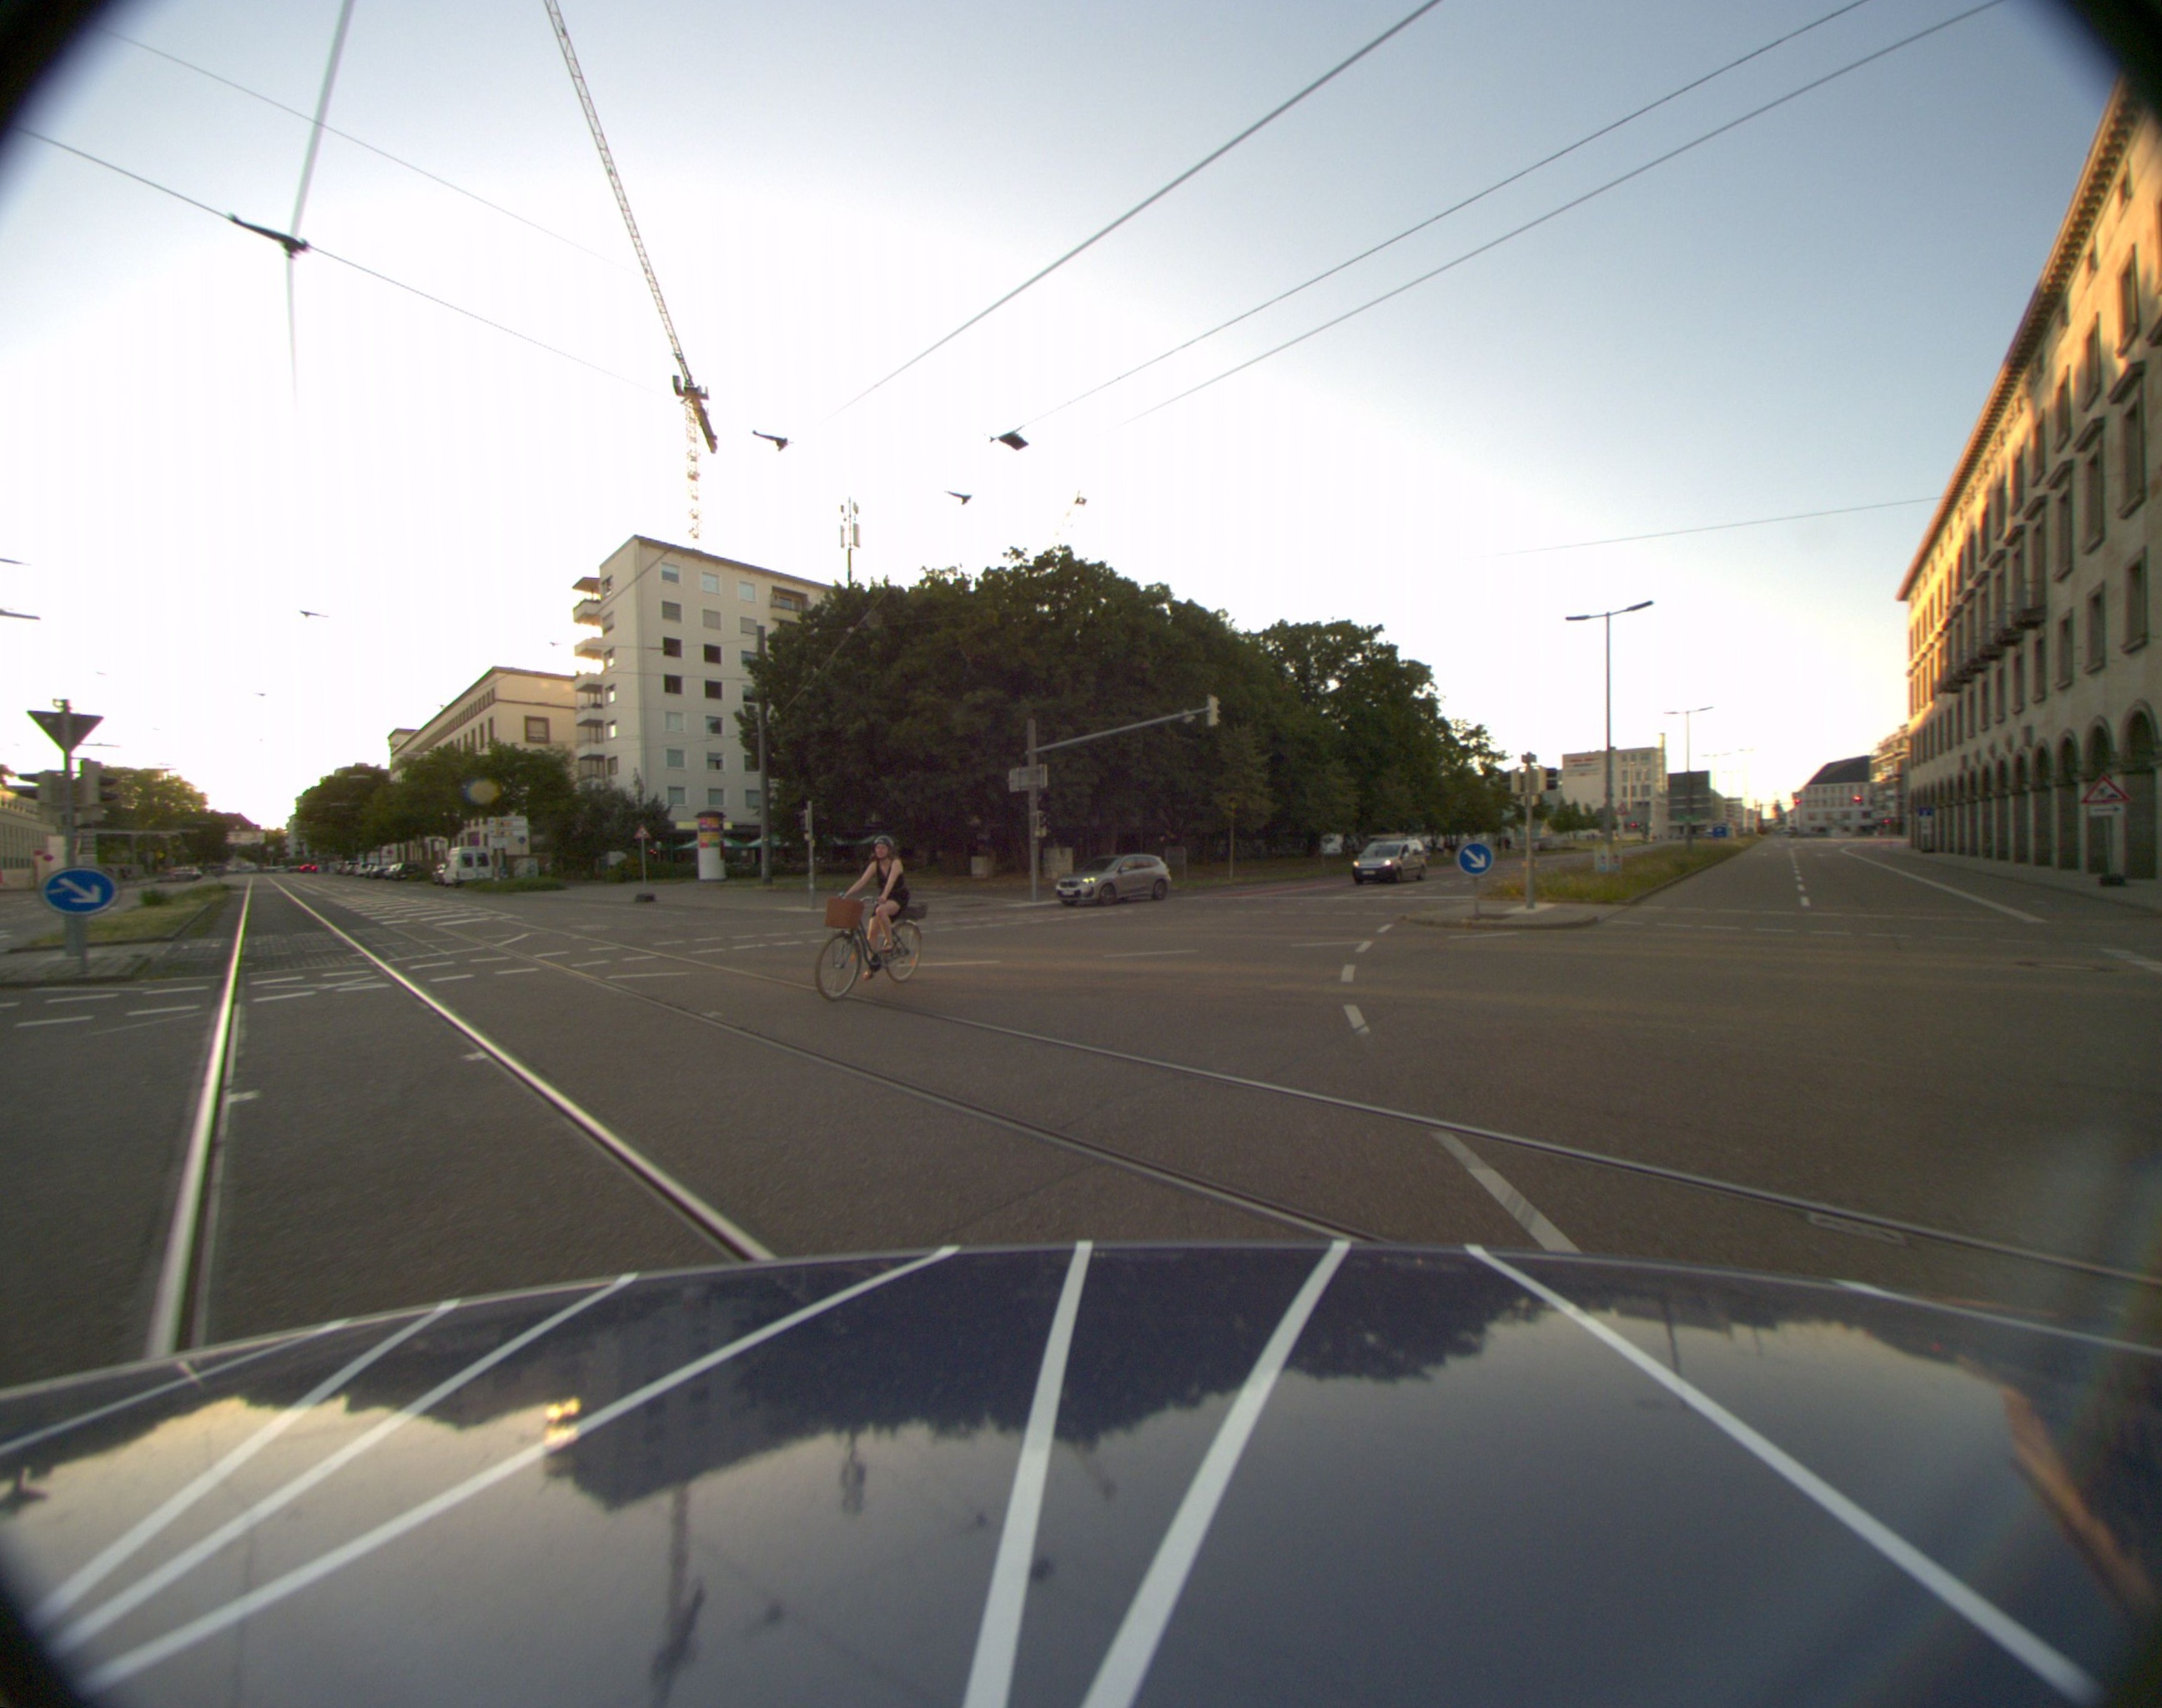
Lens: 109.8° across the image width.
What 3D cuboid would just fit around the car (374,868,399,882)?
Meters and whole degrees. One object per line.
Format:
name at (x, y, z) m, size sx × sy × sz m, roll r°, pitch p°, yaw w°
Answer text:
car at (-72.669, 2.187, 79.504) m, size 1.727 × 1.422 × 3.799 m, roll -3°, pitch 1°, yaw -44°

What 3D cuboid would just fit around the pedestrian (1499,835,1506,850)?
pedestrian at (47.288, -1.258, 85.294) m, size 0.630 × 1.656 × 0.647 m, roll -1°, pitch 1°, yaw 30°

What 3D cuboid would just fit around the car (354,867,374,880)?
car at (-87.121, 2.360, 92.293) m, size 1.727 × 1.422 × 3.799 m, roll -3°, pitch 1°, yaw -44°

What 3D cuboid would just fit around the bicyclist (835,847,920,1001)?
bicyclist at (-2.266, 0.747, 8.475) m, size 0.609 × 1.626 × 0.598 m, roll -1°, pitch 1°, yaw 31°

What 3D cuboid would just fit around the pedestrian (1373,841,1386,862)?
pedestrian at (23.912, -0.189, 60.847) m, size 0.679 × 1.585 × 0.644 m, roll -4°, pitch 2°, yaw -44°

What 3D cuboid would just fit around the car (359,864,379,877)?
car at (-86.524, 1.931, 92.362) m, size 1.727 × 1.478 × 3.798 m, roll -2°, pitch 1°, yaw -43°

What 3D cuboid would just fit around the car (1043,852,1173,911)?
car at (0.961, 0.836, 25.025) m, size 1.881 × 1.654 × 4.354 m, roll -1°, pitch 1°, yaw 42°

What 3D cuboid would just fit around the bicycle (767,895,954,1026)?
bicycle at (-2.343, 1.084, 8.388) m, size 0.608 × 1.108 × 2.090 m, roll -1°, pitch 1°, yaw 31°

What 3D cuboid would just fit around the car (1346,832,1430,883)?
car at (12.757, 0.107, 31.439) m, size 1.800 × 1.900 × 4.474 m, roll -1°, pitch 1°, yaw 41°

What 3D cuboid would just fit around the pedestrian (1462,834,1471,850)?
pedestrian at (37.896, -1.176, 74.639) m, size 0.630 × 1.455 × 0.647 m, roll 0°, pitch 2°, yaw 45°

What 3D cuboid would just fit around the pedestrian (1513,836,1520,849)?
pedestrian at (47.540, -1.214, 82.897) m, size 0.630 × 1.387 × 0.647 m, roll -1°, pitch 1°, yaw 30°

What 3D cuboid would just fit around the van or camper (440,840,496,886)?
van or camper at (-39.065, 0.591, 48.375) m, size 4.698 × 2.666 × 2.116 m, roll -4°, pitch 0°, yaw 44°

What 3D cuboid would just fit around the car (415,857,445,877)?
car at (-56.447, 1.116, 65.877) m, size 1.727 × 1.695 × 3.798 m, roll -2°, pitch 1°, yaw -43°

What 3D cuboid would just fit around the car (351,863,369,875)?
car at (-97.142, 1.962, 102.400) m, size 1.727 × 1.478 × 3.798 m, roll -2°, pitch 1°, yaw -43°
